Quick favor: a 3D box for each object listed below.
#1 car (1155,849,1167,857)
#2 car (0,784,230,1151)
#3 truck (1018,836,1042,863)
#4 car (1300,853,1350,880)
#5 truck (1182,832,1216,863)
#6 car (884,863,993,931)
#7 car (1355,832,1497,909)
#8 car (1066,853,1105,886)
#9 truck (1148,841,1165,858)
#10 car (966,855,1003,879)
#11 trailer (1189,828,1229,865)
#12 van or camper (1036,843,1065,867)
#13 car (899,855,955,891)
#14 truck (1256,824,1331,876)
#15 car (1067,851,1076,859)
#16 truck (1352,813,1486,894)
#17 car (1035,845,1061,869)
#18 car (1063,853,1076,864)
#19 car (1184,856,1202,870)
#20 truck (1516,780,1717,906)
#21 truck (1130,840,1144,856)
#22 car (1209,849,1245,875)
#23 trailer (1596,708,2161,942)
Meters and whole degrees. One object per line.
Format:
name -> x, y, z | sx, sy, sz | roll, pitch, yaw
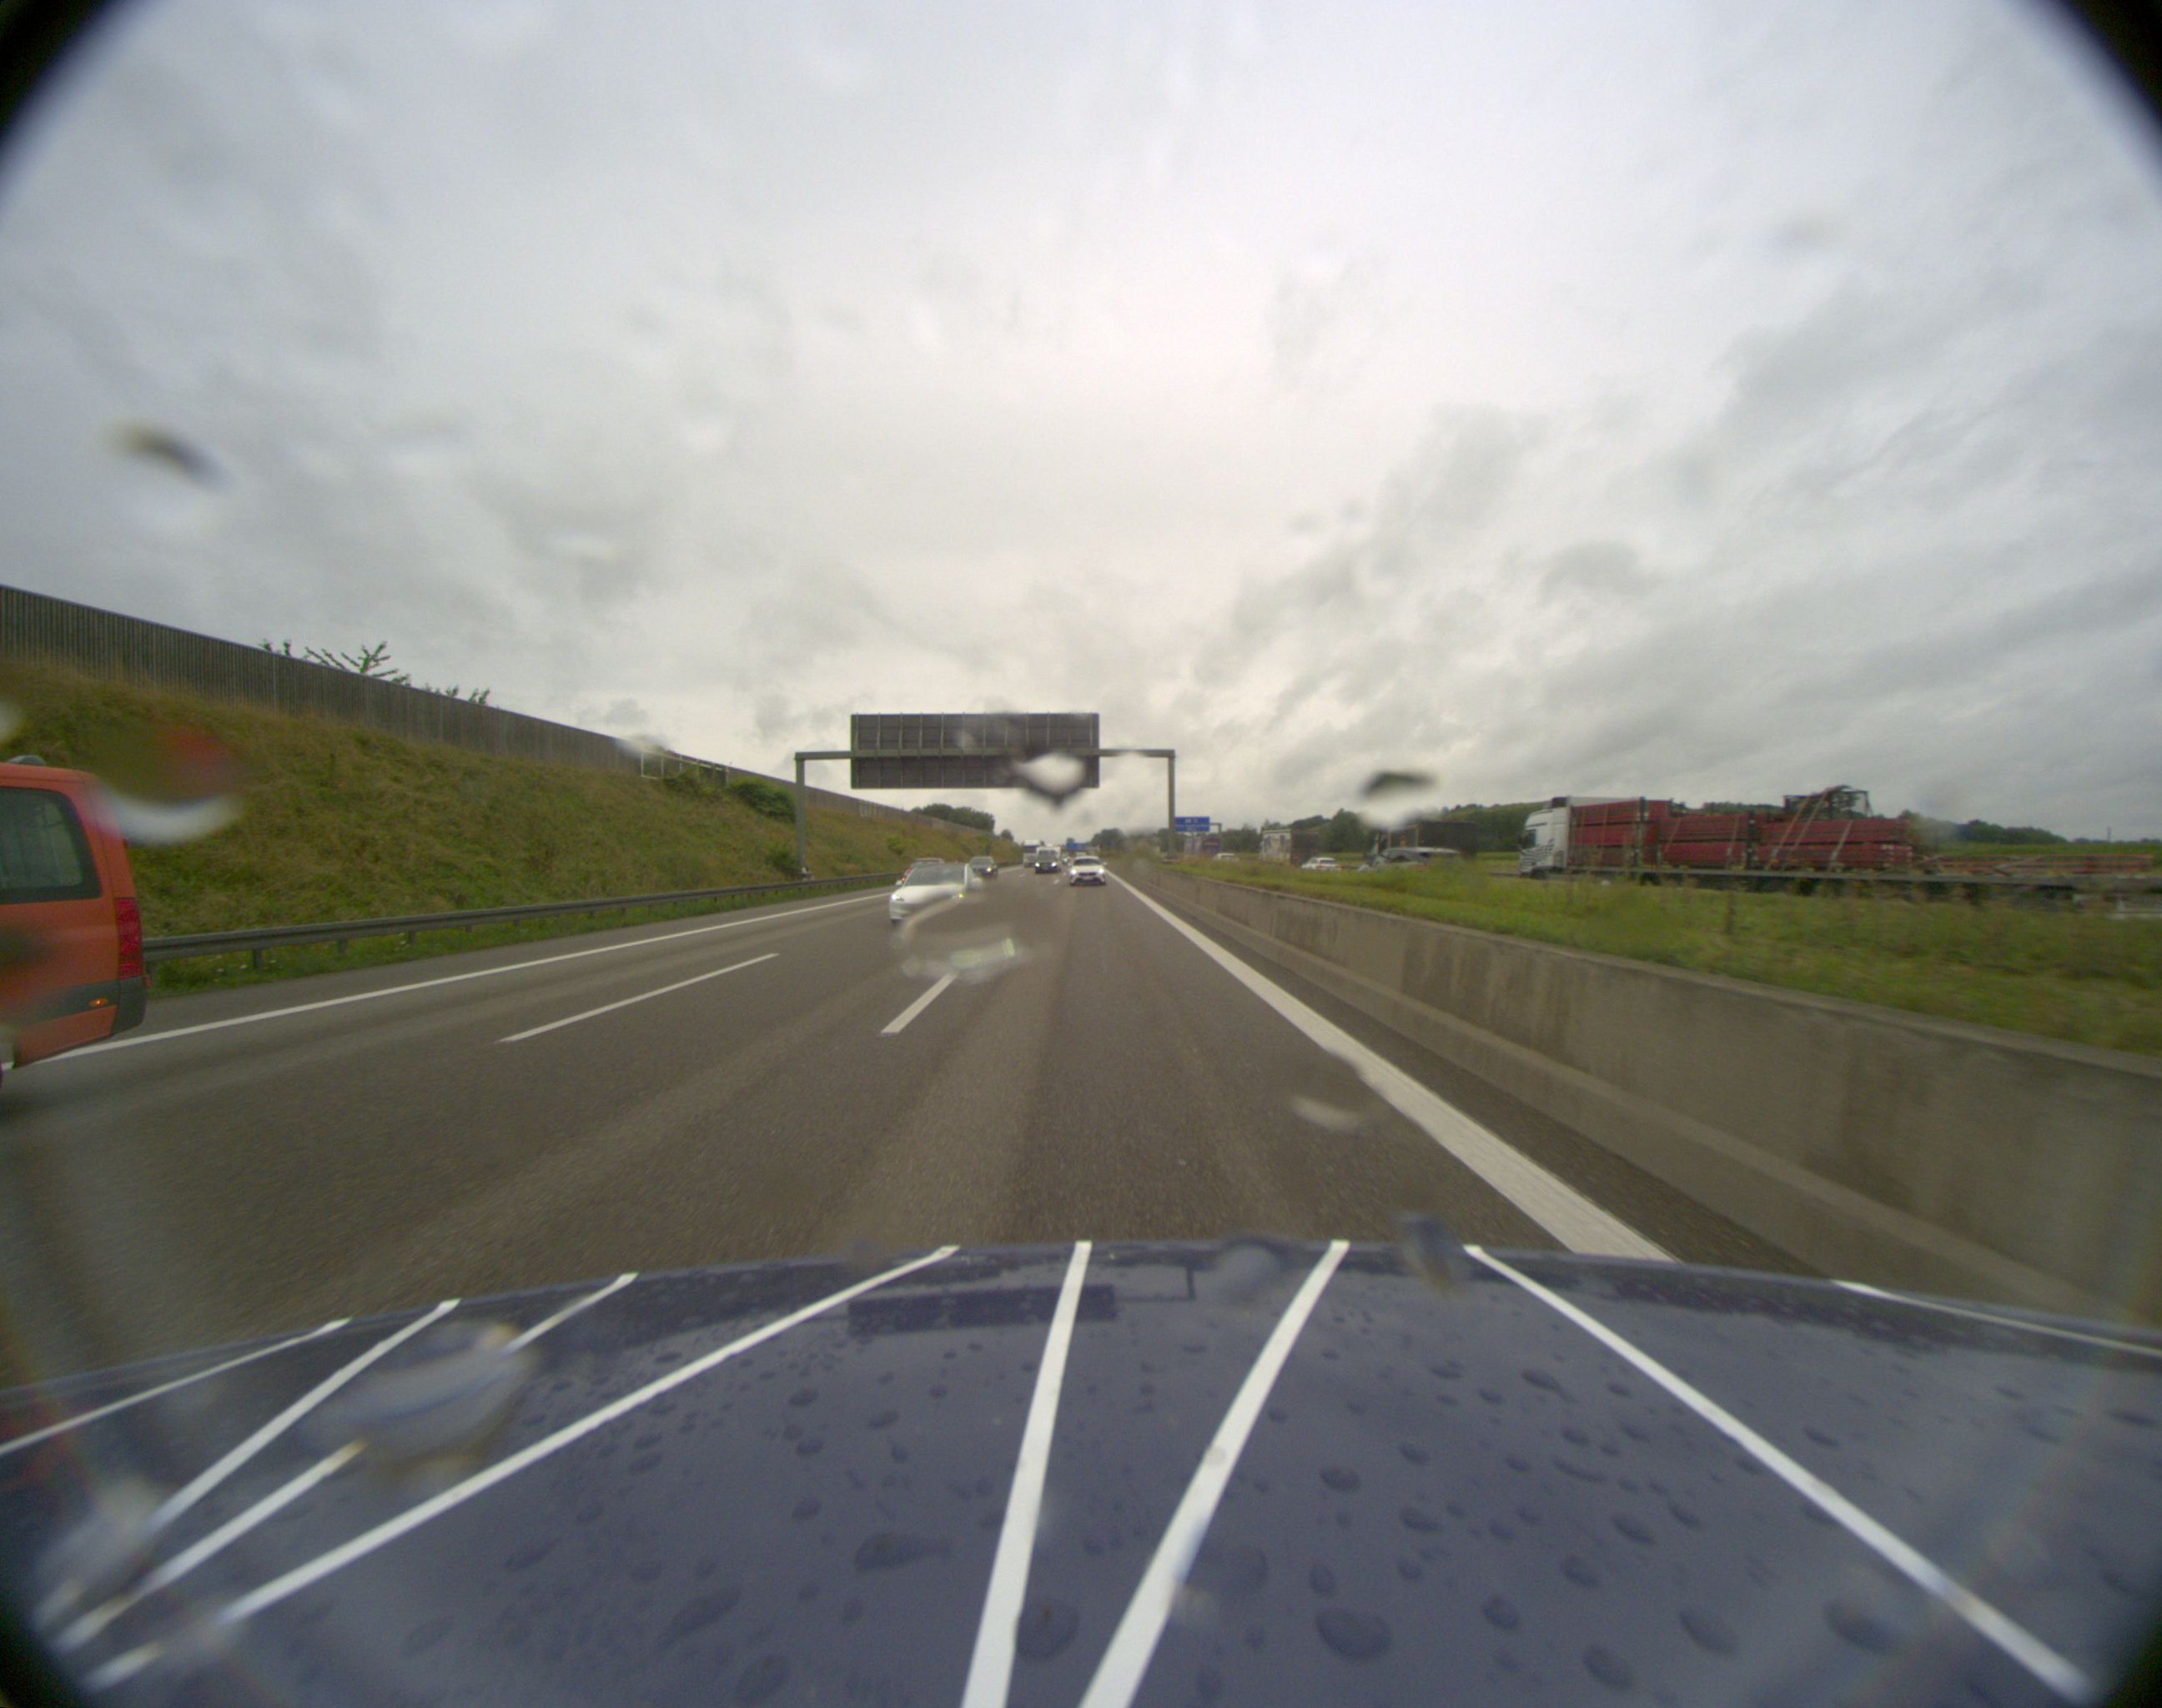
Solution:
car -> 17.005, -0.252, 162.163 | 1.998, 1.674, 3.999 | -2, 1, 0
car -> -7.839, 0.736, 2.925 | 2.091, 2.301, 6.181 | -1, 0, 0
truck -> -7.714, -0.713, 115.910 | 3.090, 4.003, 6.955 | -2, 1, -1
car -> 17.290, 0.873, 54.027 | 1.998, 1.707, 4.836 | -2, 1, 1
truck -> 17.854, -0.963, 115.525 | 3.421, 4.339, 10.989 | -2, 1, 0
car -> -3.515, 0.994, 19.655 | 1.878, 1.355, 4.812 | -2, 1, 0
car -> 9.804, 0.423, 22.100 | 1.998, 2.002, 4.800 | 0, 0, 1
car -> 0.258, 0.753, 39.161 | 1.841, 1.455, 3.999 | -2, 1, 1
truck -> 18.187, -1.189, 183.759 | 3.192, 3.944, 10.809 | -2, 1, 1
car -> -6.572, 0.847, 52.060 | 1.929, 1.480, 4.485 | -2, 1, 0
trailer -> 17.898, -1.022, 107.232 | 3.396, 4.741, 11.679 | -2, 0, -1
van or camper -> -2.938, 0.005, 73.907 | 2.432, 2.139, 6.497 | -2, 1, 1
car -> -7.417, 0.871, 36.928 | 1.878, 1.526, 3.999 | -2, 1, -1
truck -> 20.074, -0.437, 72.783 | 3.521, 4.458, 11.784 | -2, 1, -1
car -> -2.304, 0.258, 188.447 | 1.998, 1.696, 3.999 | -2, 1, 1
truck -> 13.825, -0.061, 31.820 | 2.317, 2.892, 7.423 | -2, 1, 1
car -> -2.951, 0.232, 68.498 | 1.998, 2.002, 4.937 | -2, 1, 1
car -> -1.883, 0.712, 121.412 | 1.999, 1.759, 3.999 | 0, 0, -2
car -> 13.990, 1.107, 95.099 | 1.758, 1.698, 4.000 | 0, 0, 1
truck -> 17.889, -0.292, 25.956 | 2.647, 3.703, 5.872 | -2, -1, 1
truck -> 17.065, -1.938, 232.837 | 3.233, 4.623, 9.672 | -2, 1, 0
car -> 10.389, 0.555, 54.407 | 1.785, 1.707, 3.999 | -2, 1, 1
trailer -> 17.798, -0.424, 18.188 | 2.647, 3.703, 12.194 | -2, -1, 1
